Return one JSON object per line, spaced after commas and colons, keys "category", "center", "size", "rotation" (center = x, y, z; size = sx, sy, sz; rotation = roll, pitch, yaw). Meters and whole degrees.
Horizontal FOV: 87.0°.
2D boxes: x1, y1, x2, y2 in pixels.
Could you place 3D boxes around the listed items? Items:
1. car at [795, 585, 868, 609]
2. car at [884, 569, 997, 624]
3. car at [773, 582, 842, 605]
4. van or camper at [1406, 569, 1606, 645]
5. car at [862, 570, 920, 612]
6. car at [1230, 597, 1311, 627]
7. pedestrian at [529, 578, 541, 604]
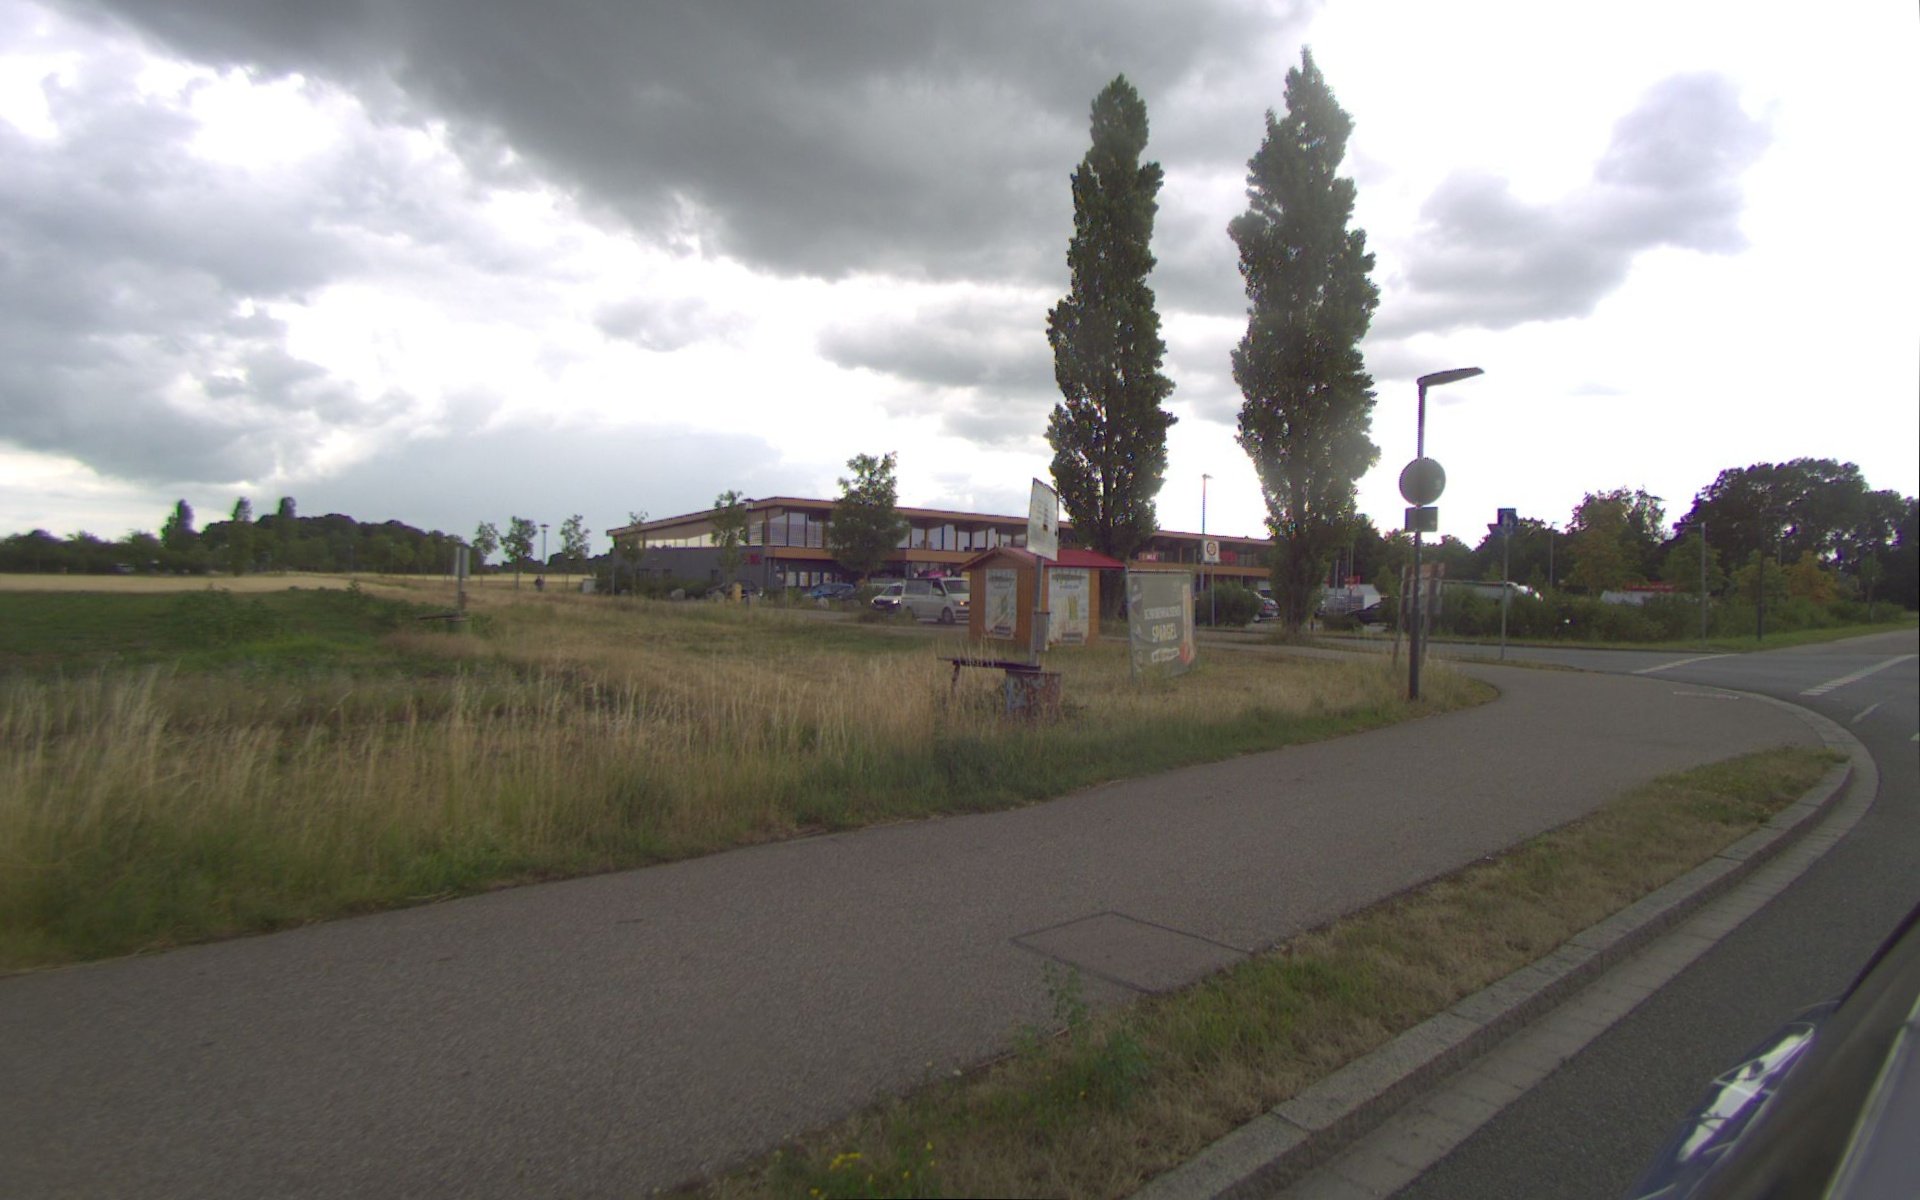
{"category": "car", "center": [-7.947, -0.199, 62.767], "size": [4.180, 1.365, 1.837], "rotation": [0, 3, -40]}
{"category": "car", "center": [-0.923, -0.200, 43.473], "size": [1.965, 2.038, 5.229], "rotation": [1, 3, -40]}
{"category": "car", "center": [-10.177, -0.423, 67.726], "size": [4.124, 1.427, 1.999], "rotation": [0, 3, -40]}
{"category": "van or camper", "center": [21.362, 0.178, 39.869], "size": [2.242, 2.494, 6.478], "rotation": [0, 3, -42]}
{"category": "car", "center": [-3.626, -0.526, 53.794], "size": [1.970, 2.038, 3.987], "rotation": [3, 2, 12]}
{"category": "car", "center": [18.208, 0.669, 59.438], "size": [1.869, 1.450, 4.186], "rotation": [0, 3, -42]}
{"category": "pedestrian", "center": [-29.444, -0.604, 70.086], "size": [0.589, 1.783, 0.483], "rotation": [1, 3, -41]}
